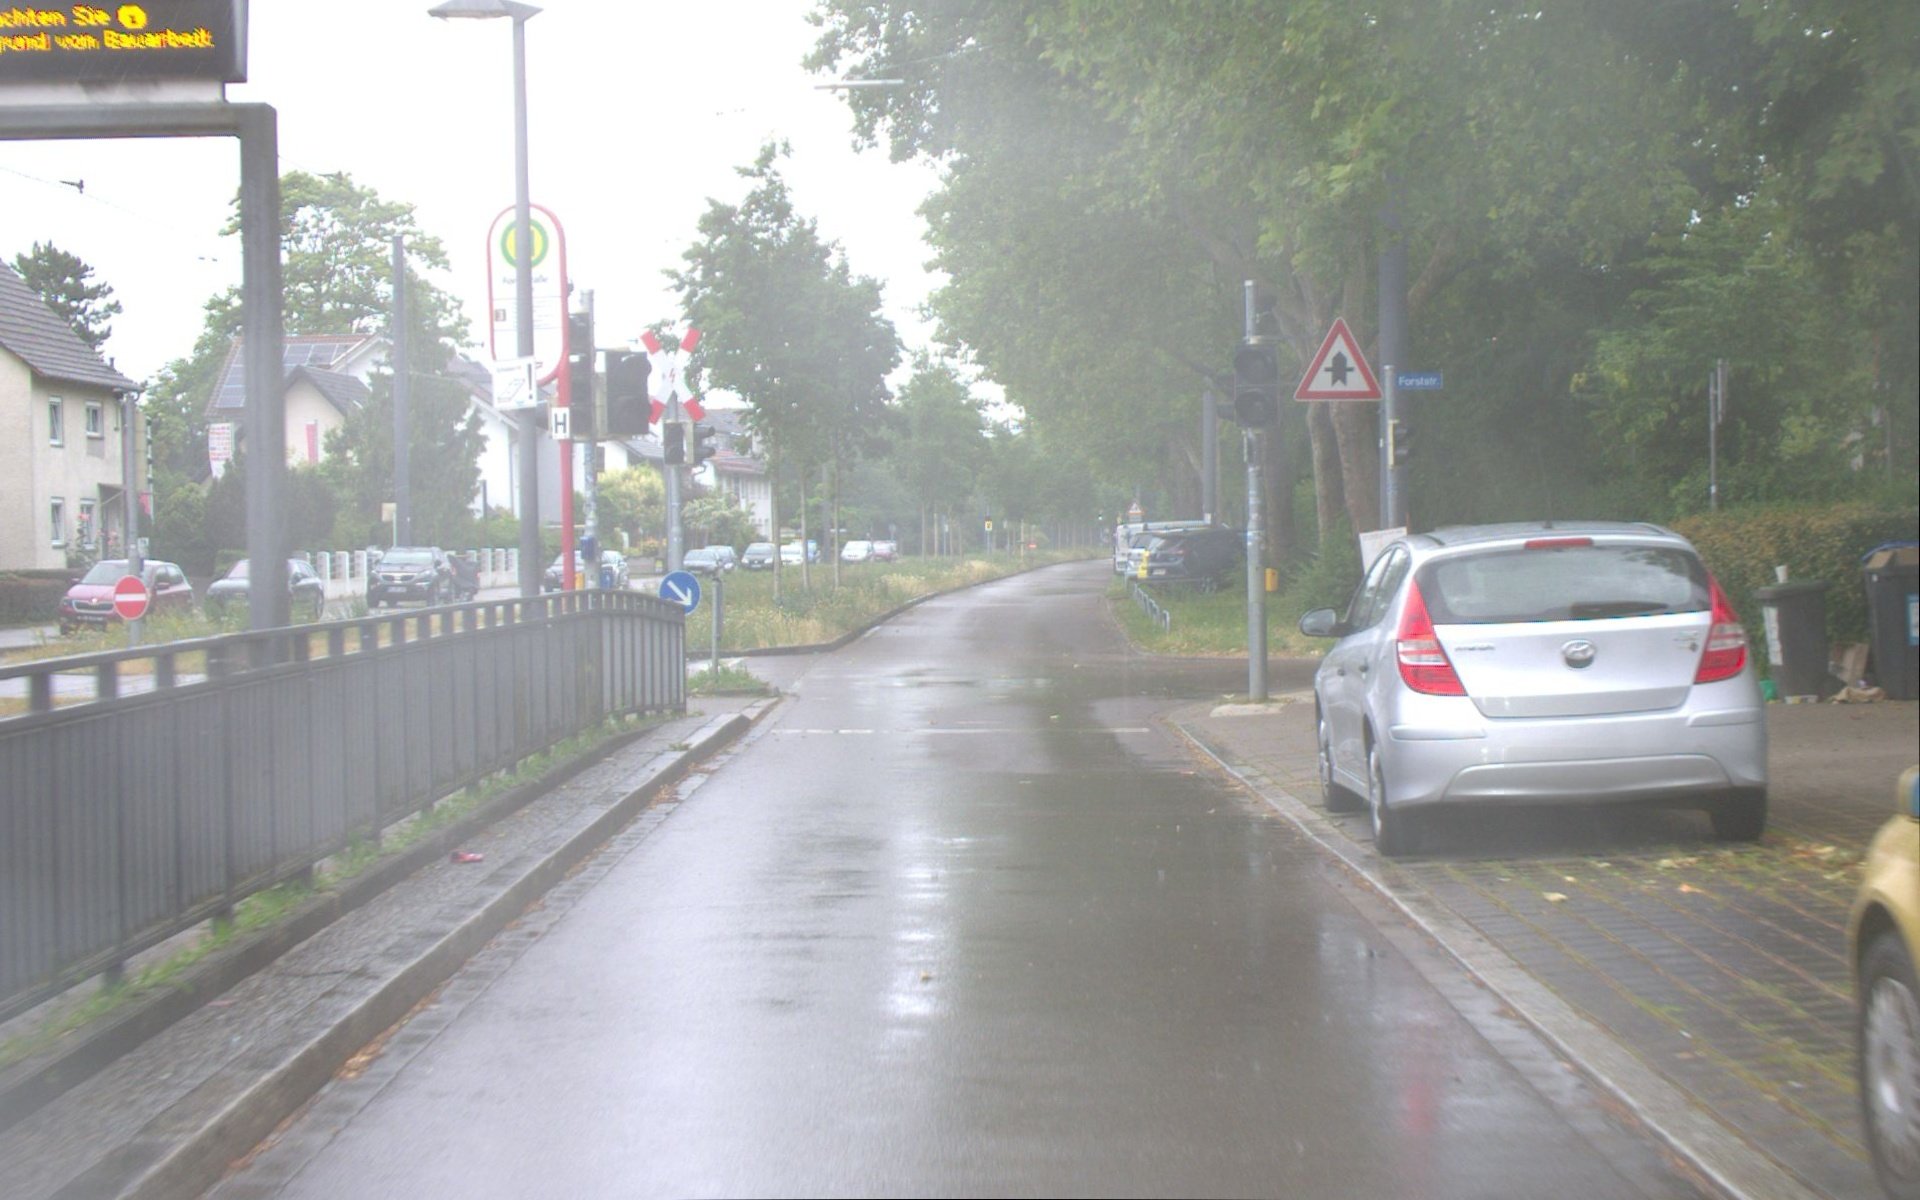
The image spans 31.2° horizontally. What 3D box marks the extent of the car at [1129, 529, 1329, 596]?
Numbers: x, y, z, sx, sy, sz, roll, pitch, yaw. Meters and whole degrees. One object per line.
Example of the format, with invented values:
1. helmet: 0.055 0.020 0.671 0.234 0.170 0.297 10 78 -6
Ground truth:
1. car: 5.932 -0.829 75.992 3.986 1.448 2.001 0 0 -14

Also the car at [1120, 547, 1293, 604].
1. car: 6.298 -0.622 88.079 3.986 1.448 2.001 0 0 -14

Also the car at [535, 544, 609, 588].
1. car: -13.497 -1.178 119.822 1.928 1.481 4.000 0 0 3

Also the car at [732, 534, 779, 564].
1. car: -10.481 -2.620 176.353 1.928 1.481 4.000 0 0 3

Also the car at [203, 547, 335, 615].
1. car: -15.301 -0.420 76.270 1.928 1.481 4.000 0 0 3

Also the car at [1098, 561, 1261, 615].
1. car: 5.956 -0.322 93.440 3.986 1.448 2.001 0 0 -14

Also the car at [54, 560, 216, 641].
1. car: -15.641 0.002 65.355 1.928 1.481 4.000 0 0 3

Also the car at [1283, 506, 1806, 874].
1. car: 2.693 0.380 16.690 1.807 1.462 3.794 -4 0 0

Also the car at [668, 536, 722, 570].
1. car: -11.898 -2.112 154.373 1.928 1.481 4.000 0 0 3

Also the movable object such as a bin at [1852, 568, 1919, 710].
1. movable object such as a bin: 7.063 0.284 25.696 0.536 1.018 0.739 -3 0 -1

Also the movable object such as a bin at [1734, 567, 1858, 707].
1. movable object such as a bin: 6.394 0.276 26.326 0.692 1.018 0.824 -3 0 -1

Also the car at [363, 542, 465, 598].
1. car: -14.806 -0.812 93.375 1.928 1.481 4.000 0 0 3

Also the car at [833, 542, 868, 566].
1. car: -6.958 -2.916 218.472 1.928 1.481 4.000 0 0 3

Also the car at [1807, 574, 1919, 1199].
1. car: 2.829 0.602 5.748 1.807 1.400 3.794 -4 0 0

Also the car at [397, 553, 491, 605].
1. car: -14.956 -0.617 99.742 1.928 1.481 4.000 0 0 3

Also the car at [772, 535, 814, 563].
1. car: -9.153 -2.771 188.509 1.928 1.481 4.000 0 0 3
